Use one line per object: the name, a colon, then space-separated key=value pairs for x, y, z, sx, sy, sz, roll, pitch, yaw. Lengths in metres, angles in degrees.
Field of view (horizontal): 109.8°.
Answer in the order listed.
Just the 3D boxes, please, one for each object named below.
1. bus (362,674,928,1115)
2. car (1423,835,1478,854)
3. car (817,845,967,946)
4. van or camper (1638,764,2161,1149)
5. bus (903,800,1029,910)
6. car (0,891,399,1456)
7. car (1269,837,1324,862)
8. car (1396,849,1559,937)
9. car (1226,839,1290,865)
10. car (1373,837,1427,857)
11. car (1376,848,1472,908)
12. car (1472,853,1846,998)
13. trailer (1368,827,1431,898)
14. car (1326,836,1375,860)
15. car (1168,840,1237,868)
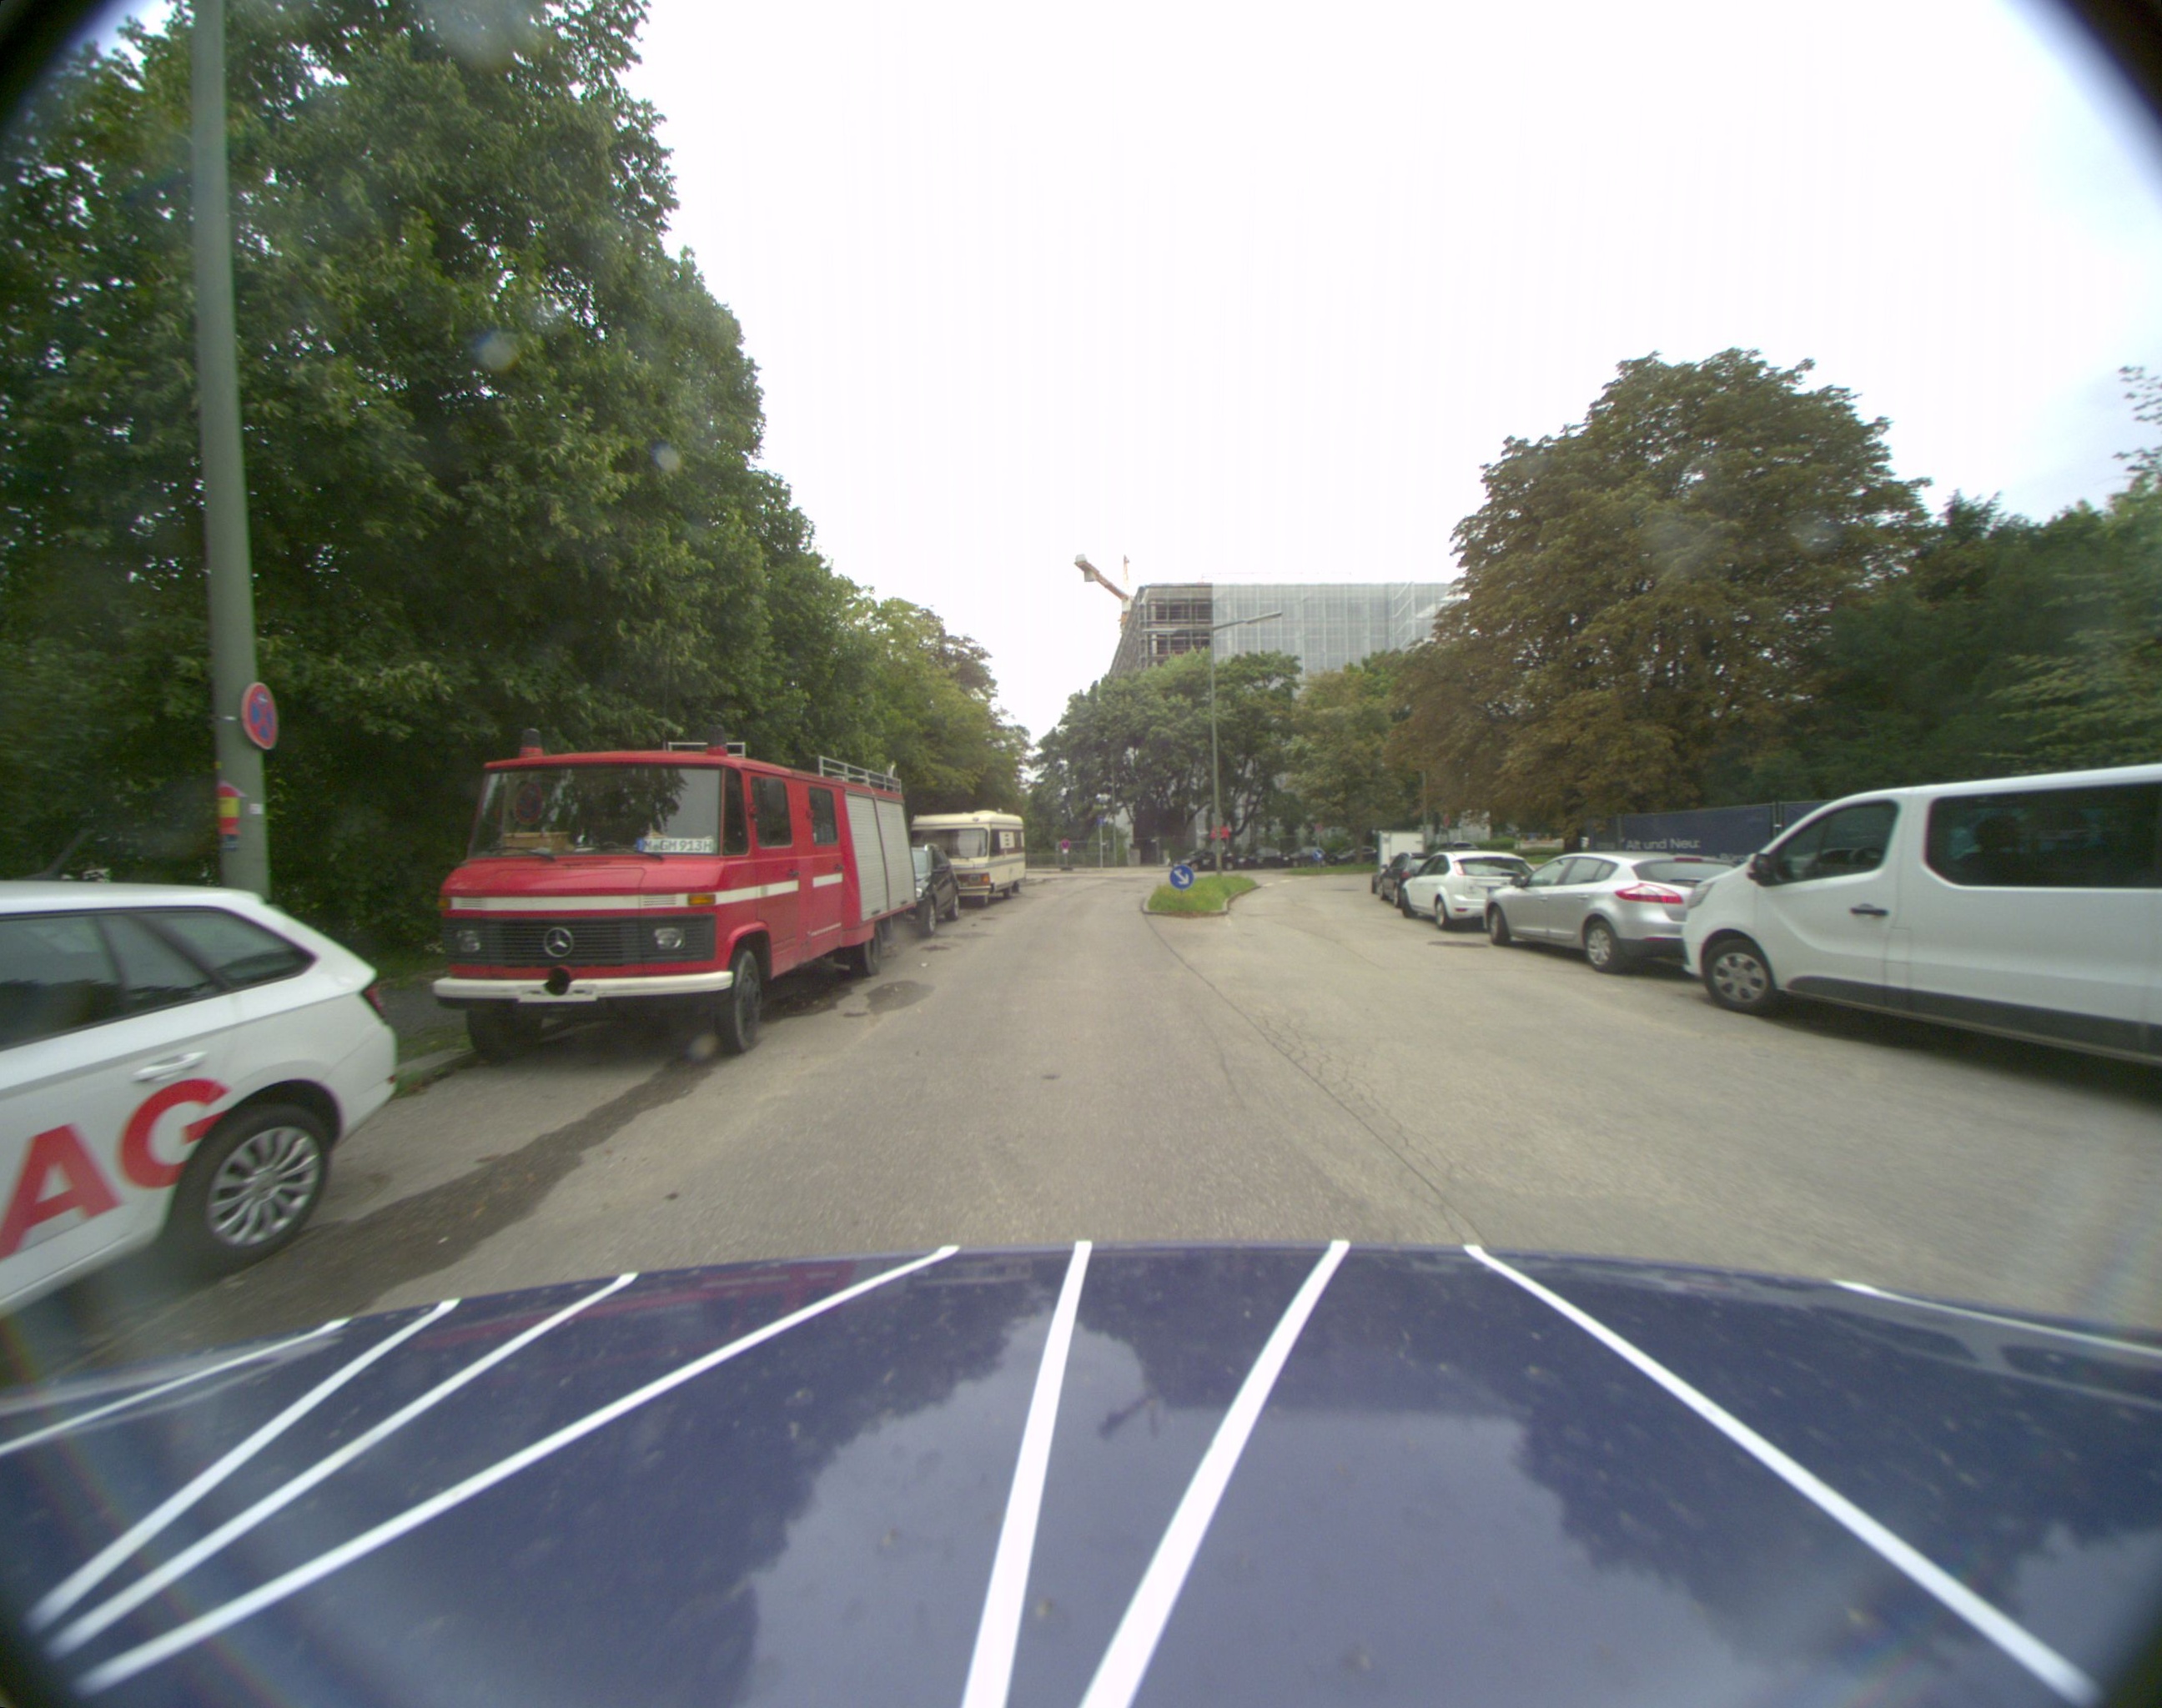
bus: x=-3.429 y=0.231 z=8.007 sx=2.077 sy=2.789 sz=6.272 roll=-1 pitch=1 yaw=2
car: x=27.916 y=-0.740 z=57.408 sx=3.723 sy=1.379 sz=1.518 roll=-1 pitch=3 yaw=-18
car: x=-3.457 y=0.676 z=14.780 sx=1.783 sy=1.630 sz=4.397 roll=-1 pitch=0 yaw=0
van or camper: x=6.697 y=0.532 z=5.021 sx=1.994 sy=2.022 sz=5.586 roll=0 pitch=0 yaw=1
bus: x=-3.078 y=-0.021 z=21.923 sx=2.077 sy=2.714 sz=5.868 roll=-1 pitch=1 yaw=7
car: x=-3.762 y=0.986 z=1.394 sx=1.536 sy=1.484 sz=4.058 roll=-1 pitch=2 yaw=-5
car: x=14.544 y=-0.298 z=51.251 sx=3.267 sy=1.564 sz=1.656 roll=-2 pitch=3 yaw=-24
car: x=7.696 y=0.662 z=15.193 sx=1.740 sy=1.450 sz=4.033 roll=1 pitch=1 yaw=10
car: x=11.444 y=-0.175 z=49.103 sx=3.892 sy=1.564 sz=1.785 roll=-2 pitch=3 yaw=-30
car: x=23.501 y=-0.514 z=55.930 sx=3.724 sy=1.379 sz=1.517 roll=-2 pitch=3 yaw=-25
car: x=9.062 y=0.563 z=20.365 sx=1.692 sy=1.404 sz=3.799 roll=1 pitch=1 yaw=14
car: x=7.164 y=0.751 z=10.108 sx=1.998 sy=1.450 sz=4.120 roll=1 pitch=1 yaw=4
trailer: x=10.479 y=0.220 z=24.948 sx=1.778 sy=2.169 sz=2.781 roll=1 pitch=2 yaw=24
car: x=18.972 y=-0.446 z=53.520 sx=2.916 sy=1.564 sz=1.517 roll=-2 pitch=3 yaw=-21
car: x=7.502 y=-0.031 z=46.794 sx=3.891 sy=1.564 sz=1.785 roll=-2 pitch=3 yaw=-25
